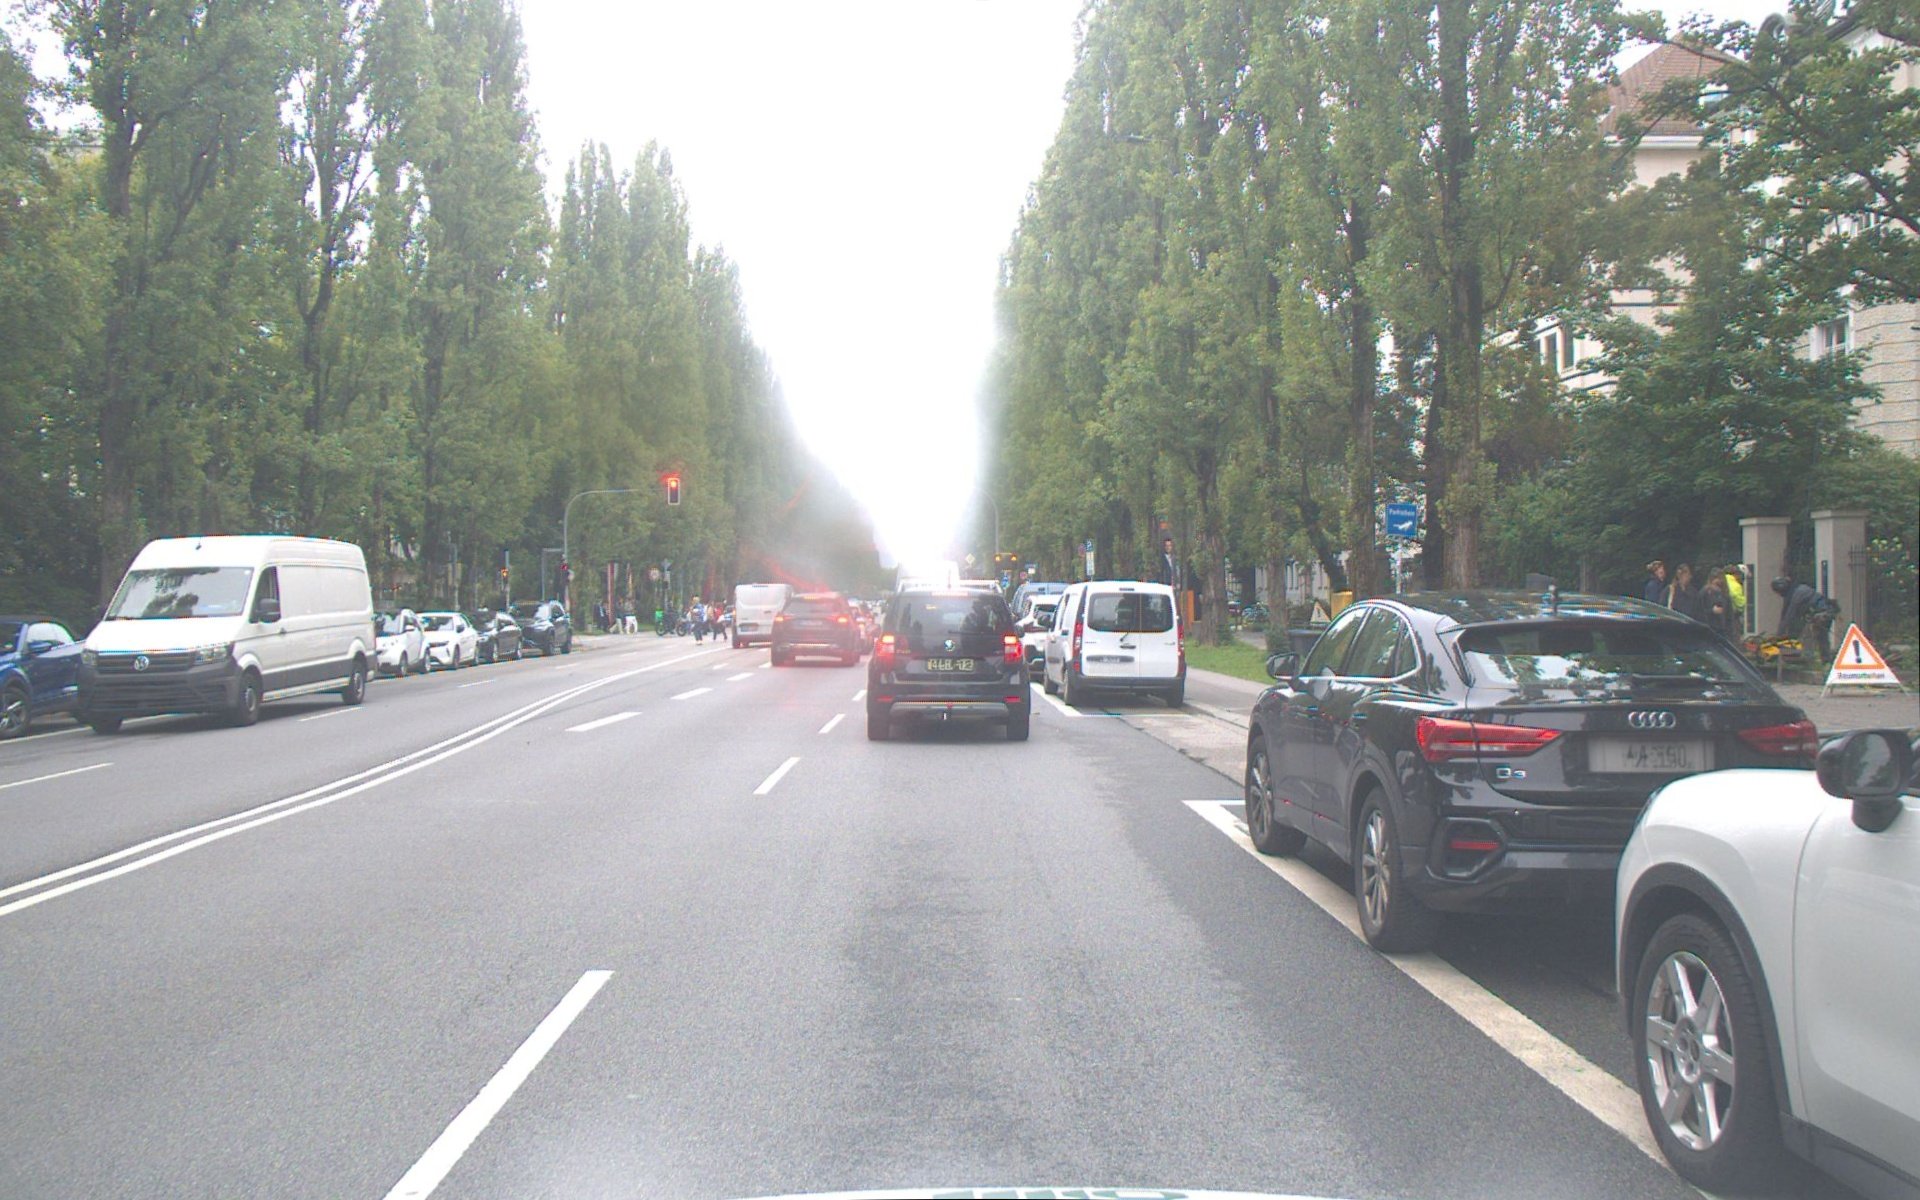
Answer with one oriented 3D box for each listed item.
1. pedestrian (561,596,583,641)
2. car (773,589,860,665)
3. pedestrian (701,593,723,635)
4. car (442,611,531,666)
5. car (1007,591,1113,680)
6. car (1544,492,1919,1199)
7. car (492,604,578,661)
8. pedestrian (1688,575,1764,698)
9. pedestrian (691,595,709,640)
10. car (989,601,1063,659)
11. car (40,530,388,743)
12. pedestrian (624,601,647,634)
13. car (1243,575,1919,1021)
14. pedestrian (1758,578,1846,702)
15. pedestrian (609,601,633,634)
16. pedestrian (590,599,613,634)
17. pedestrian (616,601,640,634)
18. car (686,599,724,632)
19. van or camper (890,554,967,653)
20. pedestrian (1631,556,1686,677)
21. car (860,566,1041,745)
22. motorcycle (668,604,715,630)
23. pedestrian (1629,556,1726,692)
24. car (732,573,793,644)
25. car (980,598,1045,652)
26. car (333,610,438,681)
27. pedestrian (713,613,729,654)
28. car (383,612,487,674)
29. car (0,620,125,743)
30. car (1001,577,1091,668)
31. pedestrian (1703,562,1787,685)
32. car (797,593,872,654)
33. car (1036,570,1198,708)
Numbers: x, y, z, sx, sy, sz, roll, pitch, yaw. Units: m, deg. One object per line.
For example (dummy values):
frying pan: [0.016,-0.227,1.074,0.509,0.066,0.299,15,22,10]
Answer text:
pedestrian: [-14.240,0.677,60.722,0.647,1.605,0.530,-1,0,-1]
car: [-3.307,0.584,38.761,1.745,1.648,4.023,2,0,-2]
pedestrian: [-12.412,0.690,82.838,0.867,2.049,1.013,-1,0,1]
car: [-13.716,1.085,48.134,1.591,1.413,4.163,-3,0,-4]
car: [1.890,0.637,32.485,1.706,1.620,4.210,-1,0,-2]
car: [2.794,0.626,3.032,1.707,1.705,4.578,-1,0,-2]
car: [-13.834,1.024,54.081,1.813,1.683,4.692,-3,0,-4]
pedestrian: [10.272,0.480,22.200,0.556,1.606,0.867,-1,0,-2]
pedestrian: [-9.440,0.636,60.000,0.517,1.605,0.662,-1,0,-1]
car: [1.702,0.751,43.626,1.700,1.411,3.561,-1,0,-2]
car: [-10.358,0.441,23.759,2.184,2.526,6.753,-3,0,-3]
pedestrian: [-16.820,0.896,85.810,0.874,1.684,0.865,-1,0,-39]
car: [2.739,0.688,8.146,1.842,1.567,4.463,-1,0,-1]
pedestrian: [12.909,0.596,25.369,0.889,1.831,0.825,-2,2,-23]
pedestrian: [-17.397,0.882,84.819,0.874,1.684,0.865,-1,0,-39]
pedestrian: [-18.639,0.829,85.988,0.861,1.795,0.879,-1,0,8]
pedestrian: [-16.868,0.880,84.113,0.874,1.684,0.865,-1,0,-39]
car: [-14.494,0.864,94.176,1.654,1.814,3.774,-1,0,-2]
van or camper: [-0.903,0.080,45.583,1.936,2.593,4.022,-1,0,-3]
pedestrian: [11.178,0.256,26.462,0.479,1.895,0.635,-1,0,-19]
car: [-0.144,0.566,18.931,1.818,1.801,3.999,1,0,-1]
motorcycle: [-14.003,0.877,86.220,2.315,1.292,0.930,0,0,-1]
pedestrian: [9.502,0.312,21.927,0.836,1.747,0.867,-2,0,-2]
car: [-6.245,0.261,52.612,1.746,2.148,4.021,0,0,-5]
car: [1.536,0.720,49.128,1.700,1.501,3.561,-1,0,-2]
car: [-13.259,1.026,38.325,1.399,1.472,2.965,-4,0,-2]
pedestrian: [-9.112,1.278,63.028,0.507,1.511,0.536,-1,0,-1]
car: [-13.453,1.068,42.585,1.592,1.413,4.162,-3,0,-5]
car: [-12.717,1.072,21.801,1.675,1.476,3.584,-4,0,-3]
car: [1.912,0.476,37.761,1.700,1.928,4.023,-1,0,-2]
pedestrian: [11.890,0.349,25.074,0.787,1.813,0.816,-1,0,-19]
car: [-3.510,0.627,46.908,1.954,1.588,3.998,-1,1,-3]
car: [2.299,0.534,25.288,1.814,1.914,4.165,-1,0,-4]
